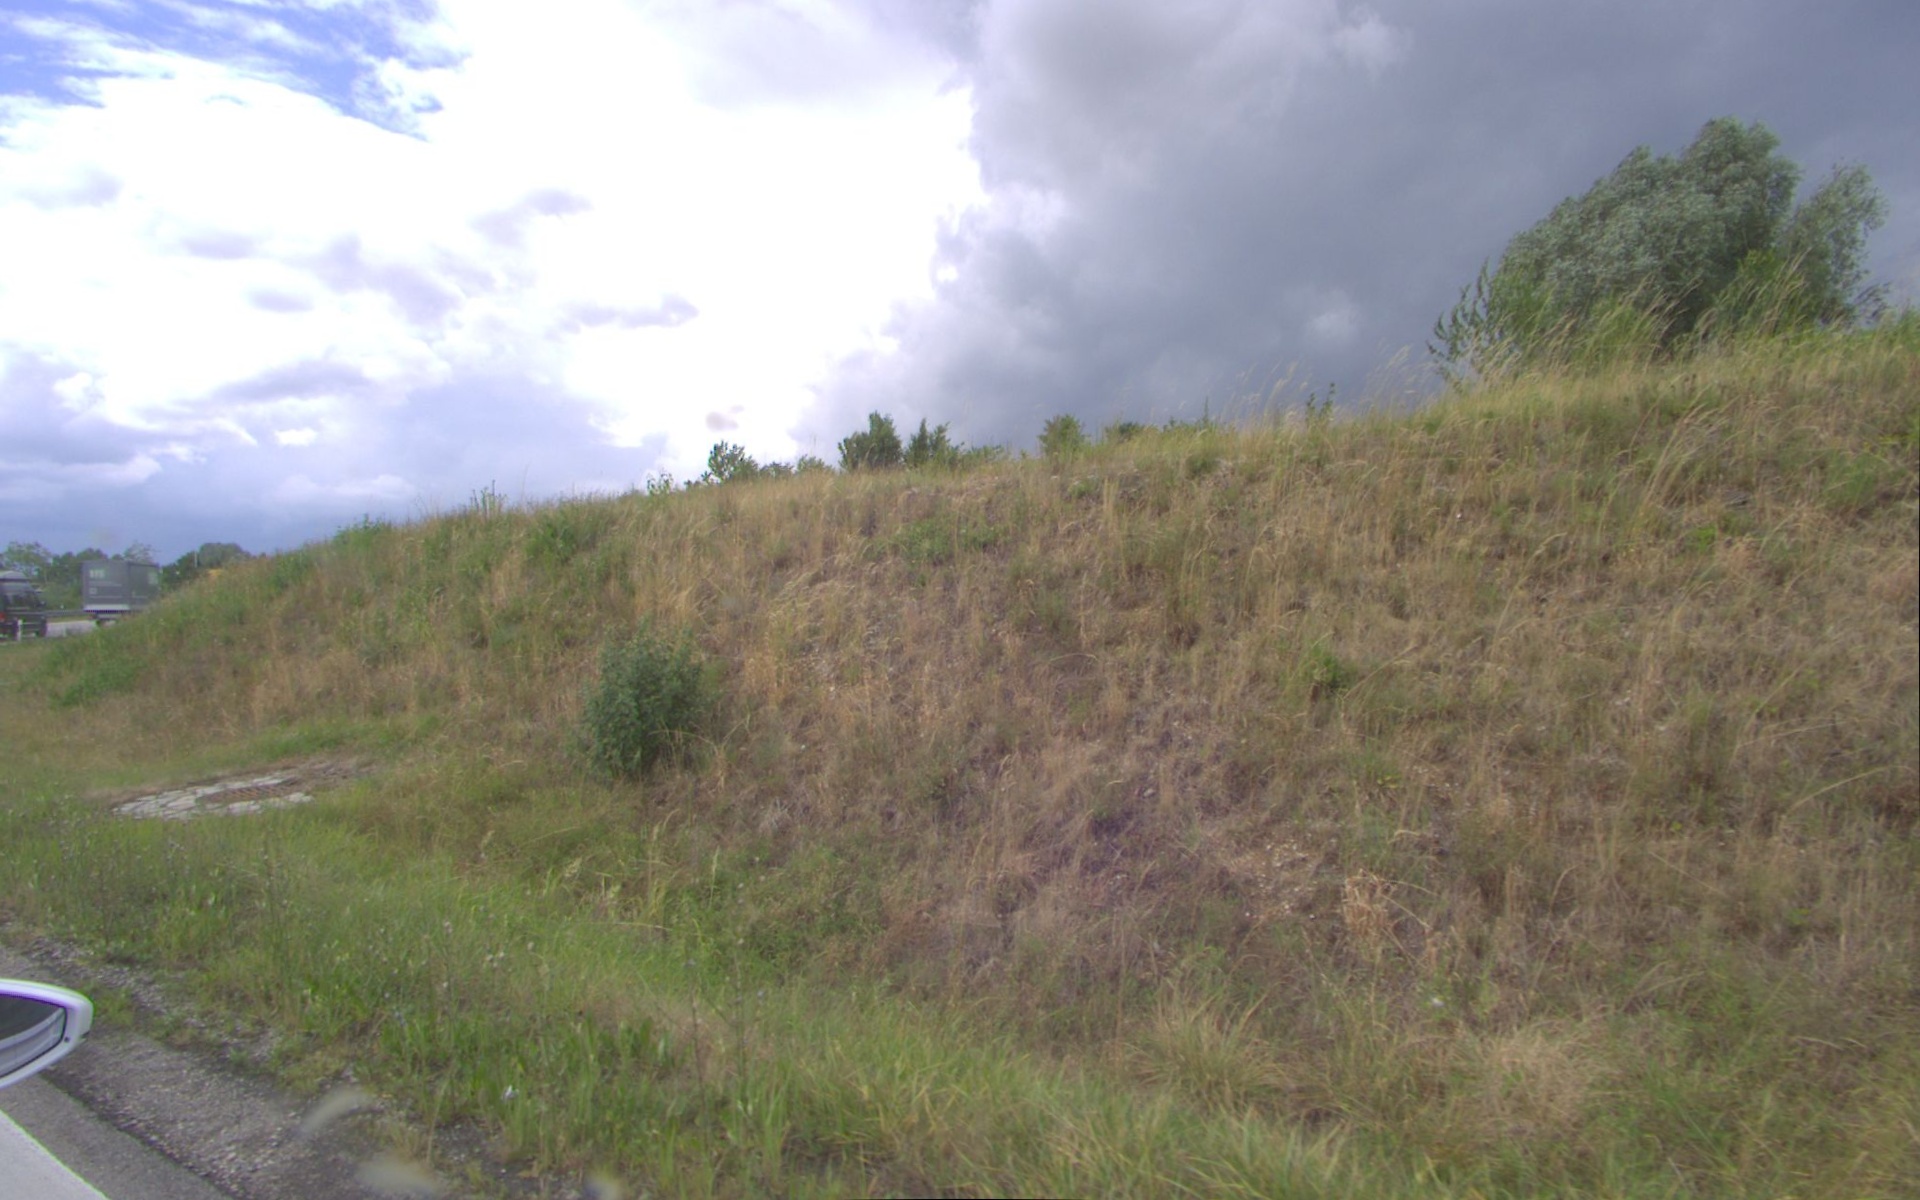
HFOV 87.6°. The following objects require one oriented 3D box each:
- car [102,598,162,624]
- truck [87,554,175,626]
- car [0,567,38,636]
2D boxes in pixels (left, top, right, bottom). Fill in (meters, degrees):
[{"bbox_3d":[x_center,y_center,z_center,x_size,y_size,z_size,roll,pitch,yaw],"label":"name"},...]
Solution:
[{"bbox_3d":[-53.183,0.718,64.370,1.771,1.575,3.951,-1,-1,-21],"label":"car"},{"bbox_3d":[-48.789,-0.499,59.086,2.199,3.956,6.001,0,-2,-22],"label":"truck"},{"bbox_3d":[-41.005,0.073,42.360,2.082,2.832,3.979,1,-1,-30],"label":"car"}]
